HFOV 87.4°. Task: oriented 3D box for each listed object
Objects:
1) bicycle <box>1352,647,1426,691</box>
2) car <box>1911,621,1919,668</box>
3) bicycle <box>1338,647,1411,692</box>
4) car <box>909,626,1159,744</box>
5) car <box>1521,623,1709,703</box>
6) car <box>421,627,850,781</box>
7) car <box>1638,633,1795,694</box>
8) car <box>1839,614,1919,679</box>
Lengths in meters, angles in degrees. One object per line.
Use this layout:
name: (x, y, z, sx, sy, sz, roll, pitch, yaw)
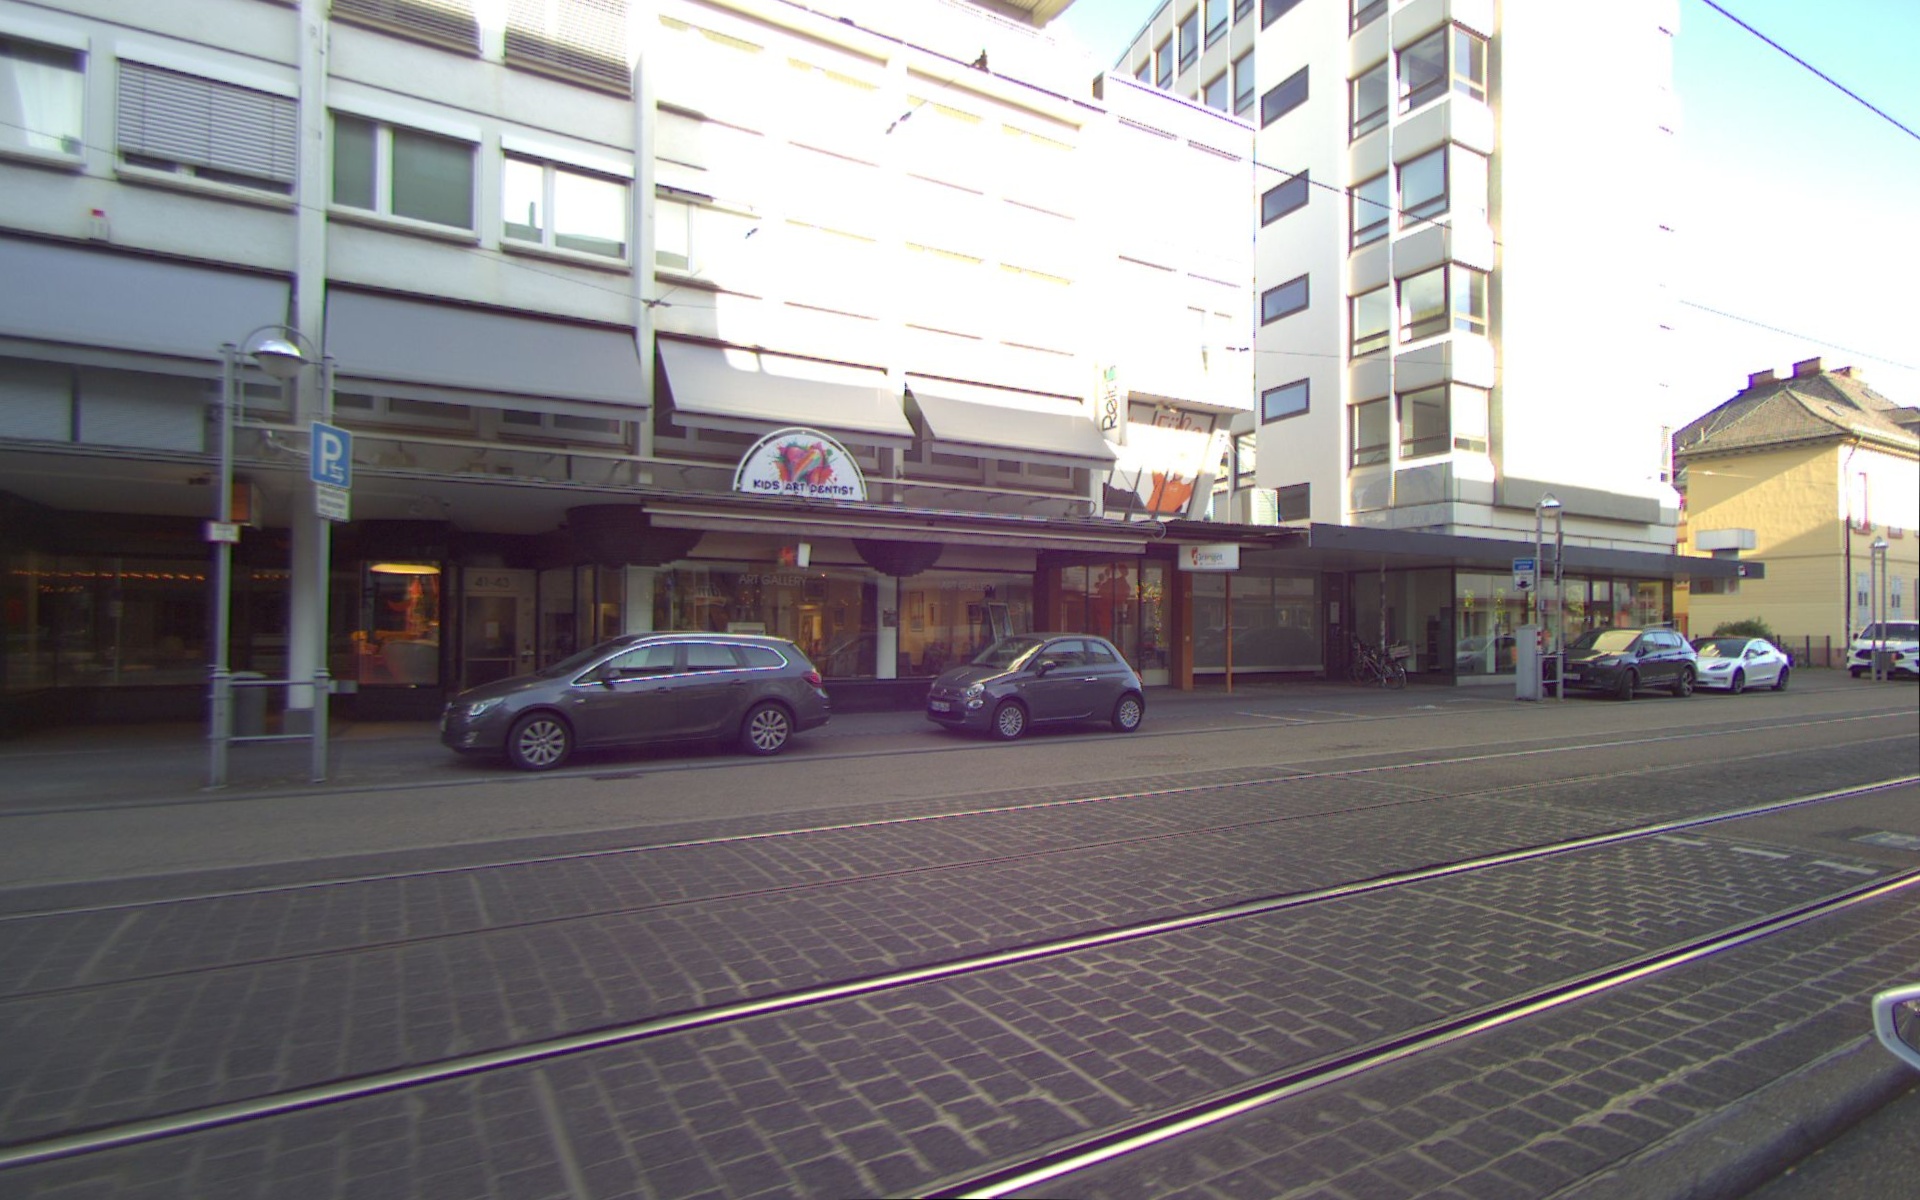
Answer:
bicycle: (11.143, 1.782, 26.153, 0.418, 1.012, 1.928, 1, 0, -29)
car: (37.394, 1.674, 37.209, 4.591, 1.708, 1.800, 1, 0, -28)
bicycle: (10.722, 1.777, 26.049, 0.376, 1.012, 1.928, 1, 0, -29)
car: (1.168, 1.210, 15.320, 3.551, 1.544, 1.591, 1, 0, -33)
car: (15.884, 1.467, 24.316, 4.601, 1.701, 1.969, 1, 0, -30)
car: (-3.923, 1.160, 12.445, 4.795, 1.544, 1.729, 2, 0, -30)
car: (20.453, 1.657, 27.109, 4.605, 1.440, 1.878, 2, 0, -32)
car: (32.038, 1.540, 34.027, 5.039, 2.001, 1.983, 1, 0, -31)
